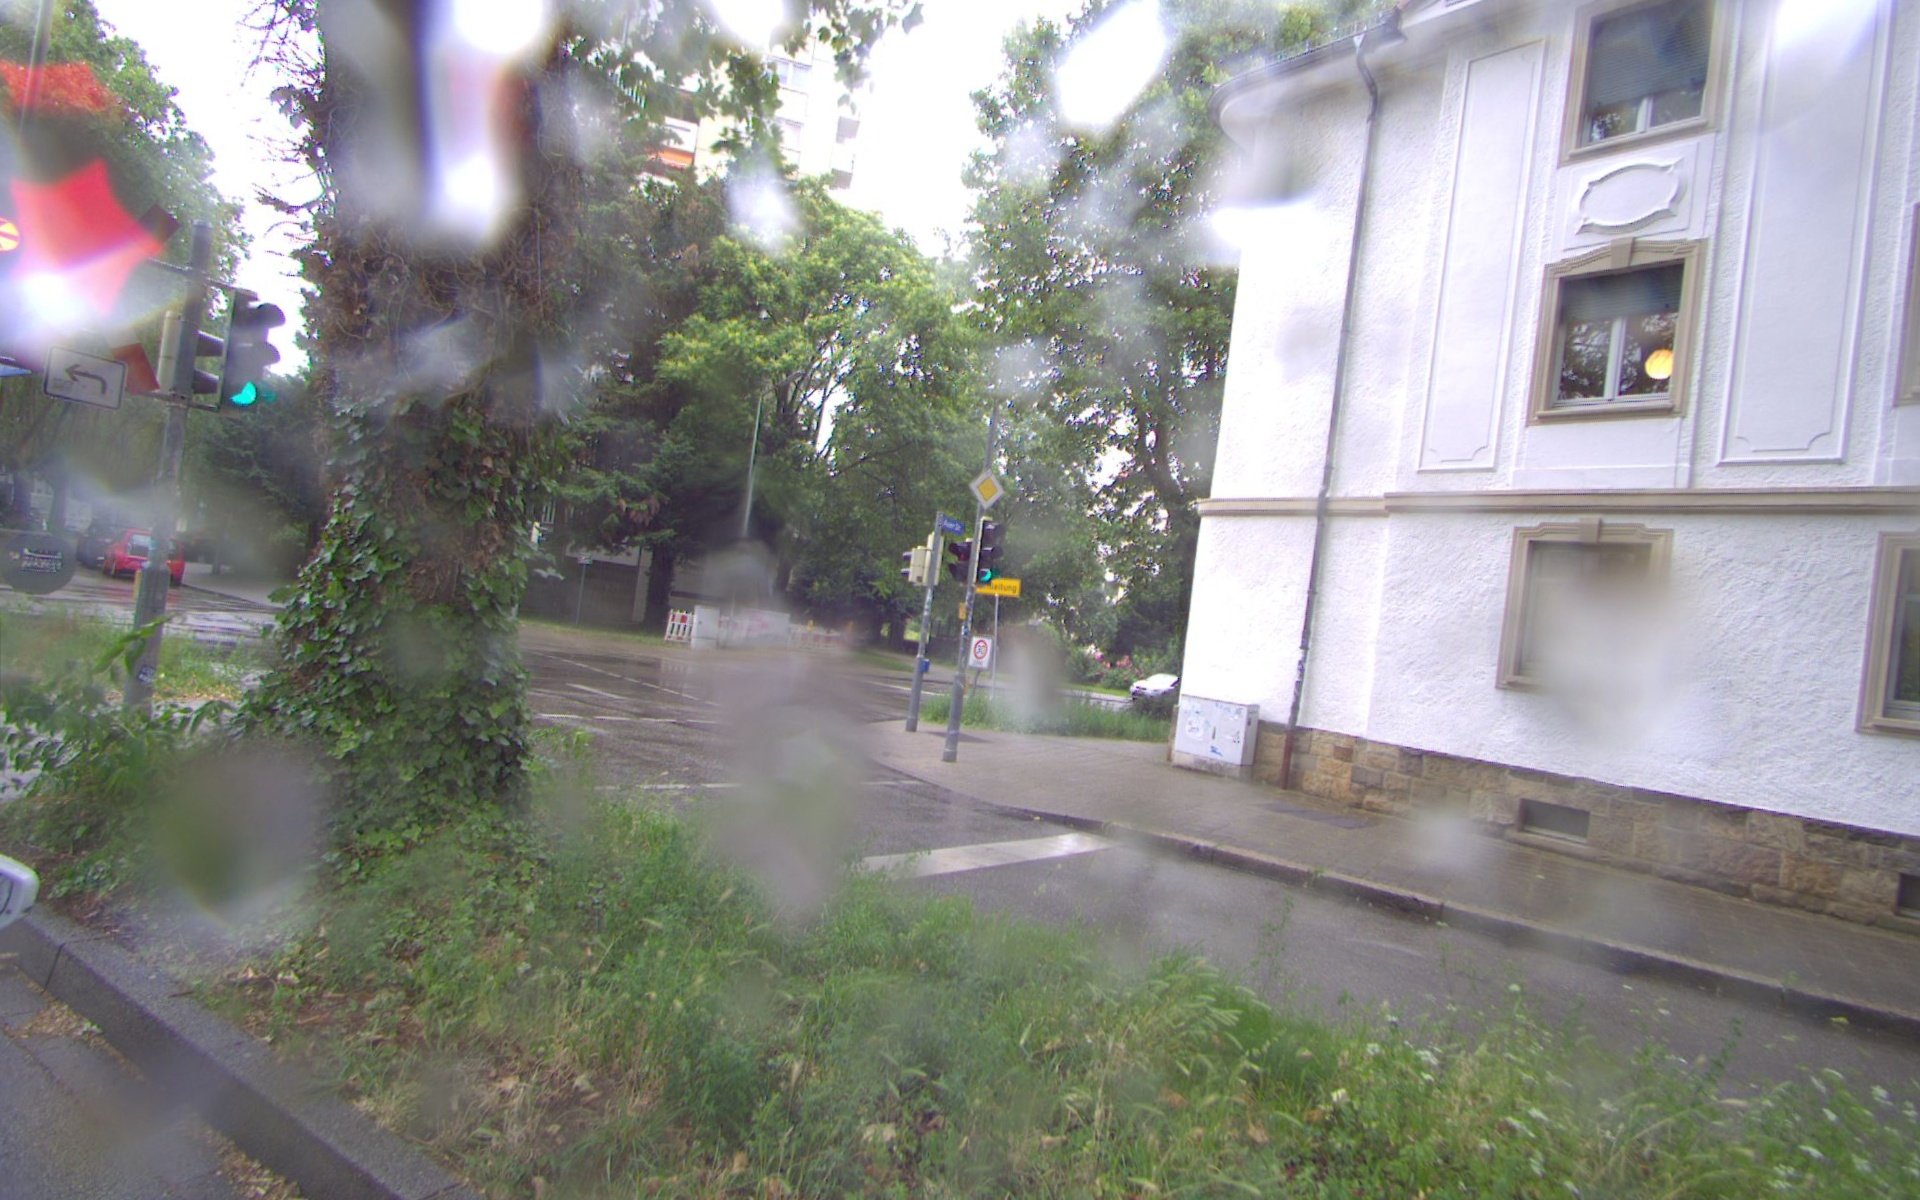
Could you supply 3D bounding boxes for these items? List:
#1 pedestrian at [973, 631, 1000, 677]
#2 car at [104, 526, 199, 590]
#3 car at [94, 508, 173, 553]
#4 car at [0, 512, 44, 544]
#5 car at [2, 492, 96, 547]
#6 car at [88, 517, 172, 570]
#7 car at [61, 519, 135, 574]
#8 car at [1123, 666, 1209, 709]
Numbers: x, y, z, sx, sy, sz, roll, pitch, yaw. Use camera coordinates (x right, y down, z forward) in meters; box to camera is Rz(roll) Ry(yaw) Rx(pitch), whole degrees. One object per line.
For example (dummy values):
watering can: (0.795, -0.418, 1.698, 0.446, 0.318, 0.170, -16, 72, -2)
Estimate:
pedestrian: (1.135, 2.310, 43.260, 0.675, 1.863, 0.707, 8, -1, -44)
car: (-24.829, -1.309, 30.851, 1.788, 1.515, 3.950, 10, -2, -44)
car: (-69.648, -5.841, 84.820, 4.683, 2.982, 2.001, 7, -1, 1)
car: (-56.203, -4.377, 58.635, 1.974, 1.565, 3.980, 6, -3, 44)
car: (-61.109, -5.391, 67.539, 4.680, 2.982, 2.043, 7, -1, 12)
car: (-28.096, -1.937, 34.007, 1.780, 1.363, 3.879, 10, -2, -44)
car: (-32.981, -2.078, 38.462, 1.779, 1.747, 3.951, 9, -2, -44)
car: (9.413, 4.000, 45.814, 1.829, 1.473, 3.979, 6, -3, 45)
